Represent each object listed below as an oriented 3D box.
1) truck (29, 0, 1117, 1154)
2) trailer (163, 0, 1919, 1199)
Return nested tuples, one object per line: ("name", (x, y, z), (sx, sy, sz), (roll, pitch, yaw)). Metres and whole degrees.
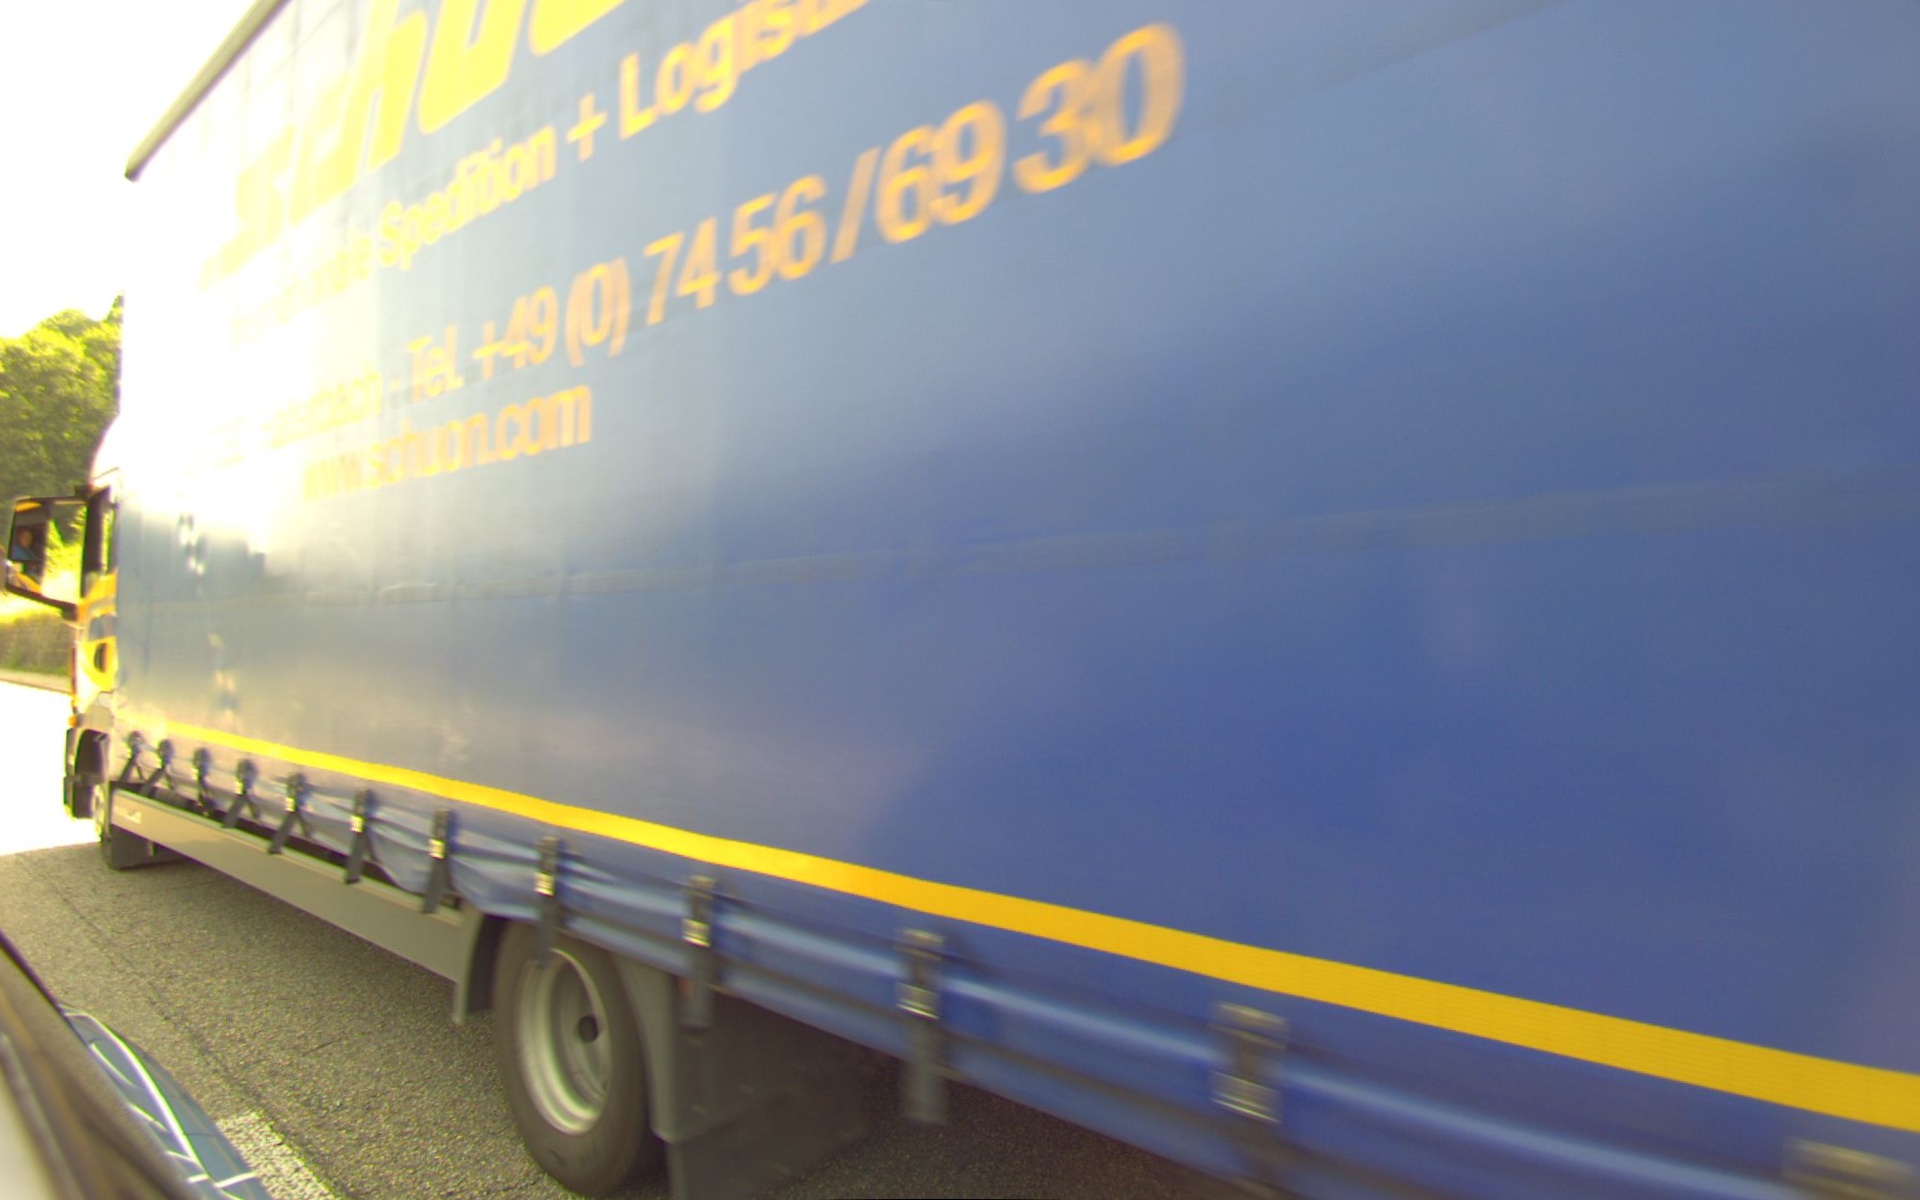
("truck", (-2.816, -0.727, 5.899), (6.568, 4.430, 3.155), (-4, -2, 41))
("trailer", (3.703, -0.890, 0.207), (15.305, 4.451, 3.226), (-3, -2, 41))
